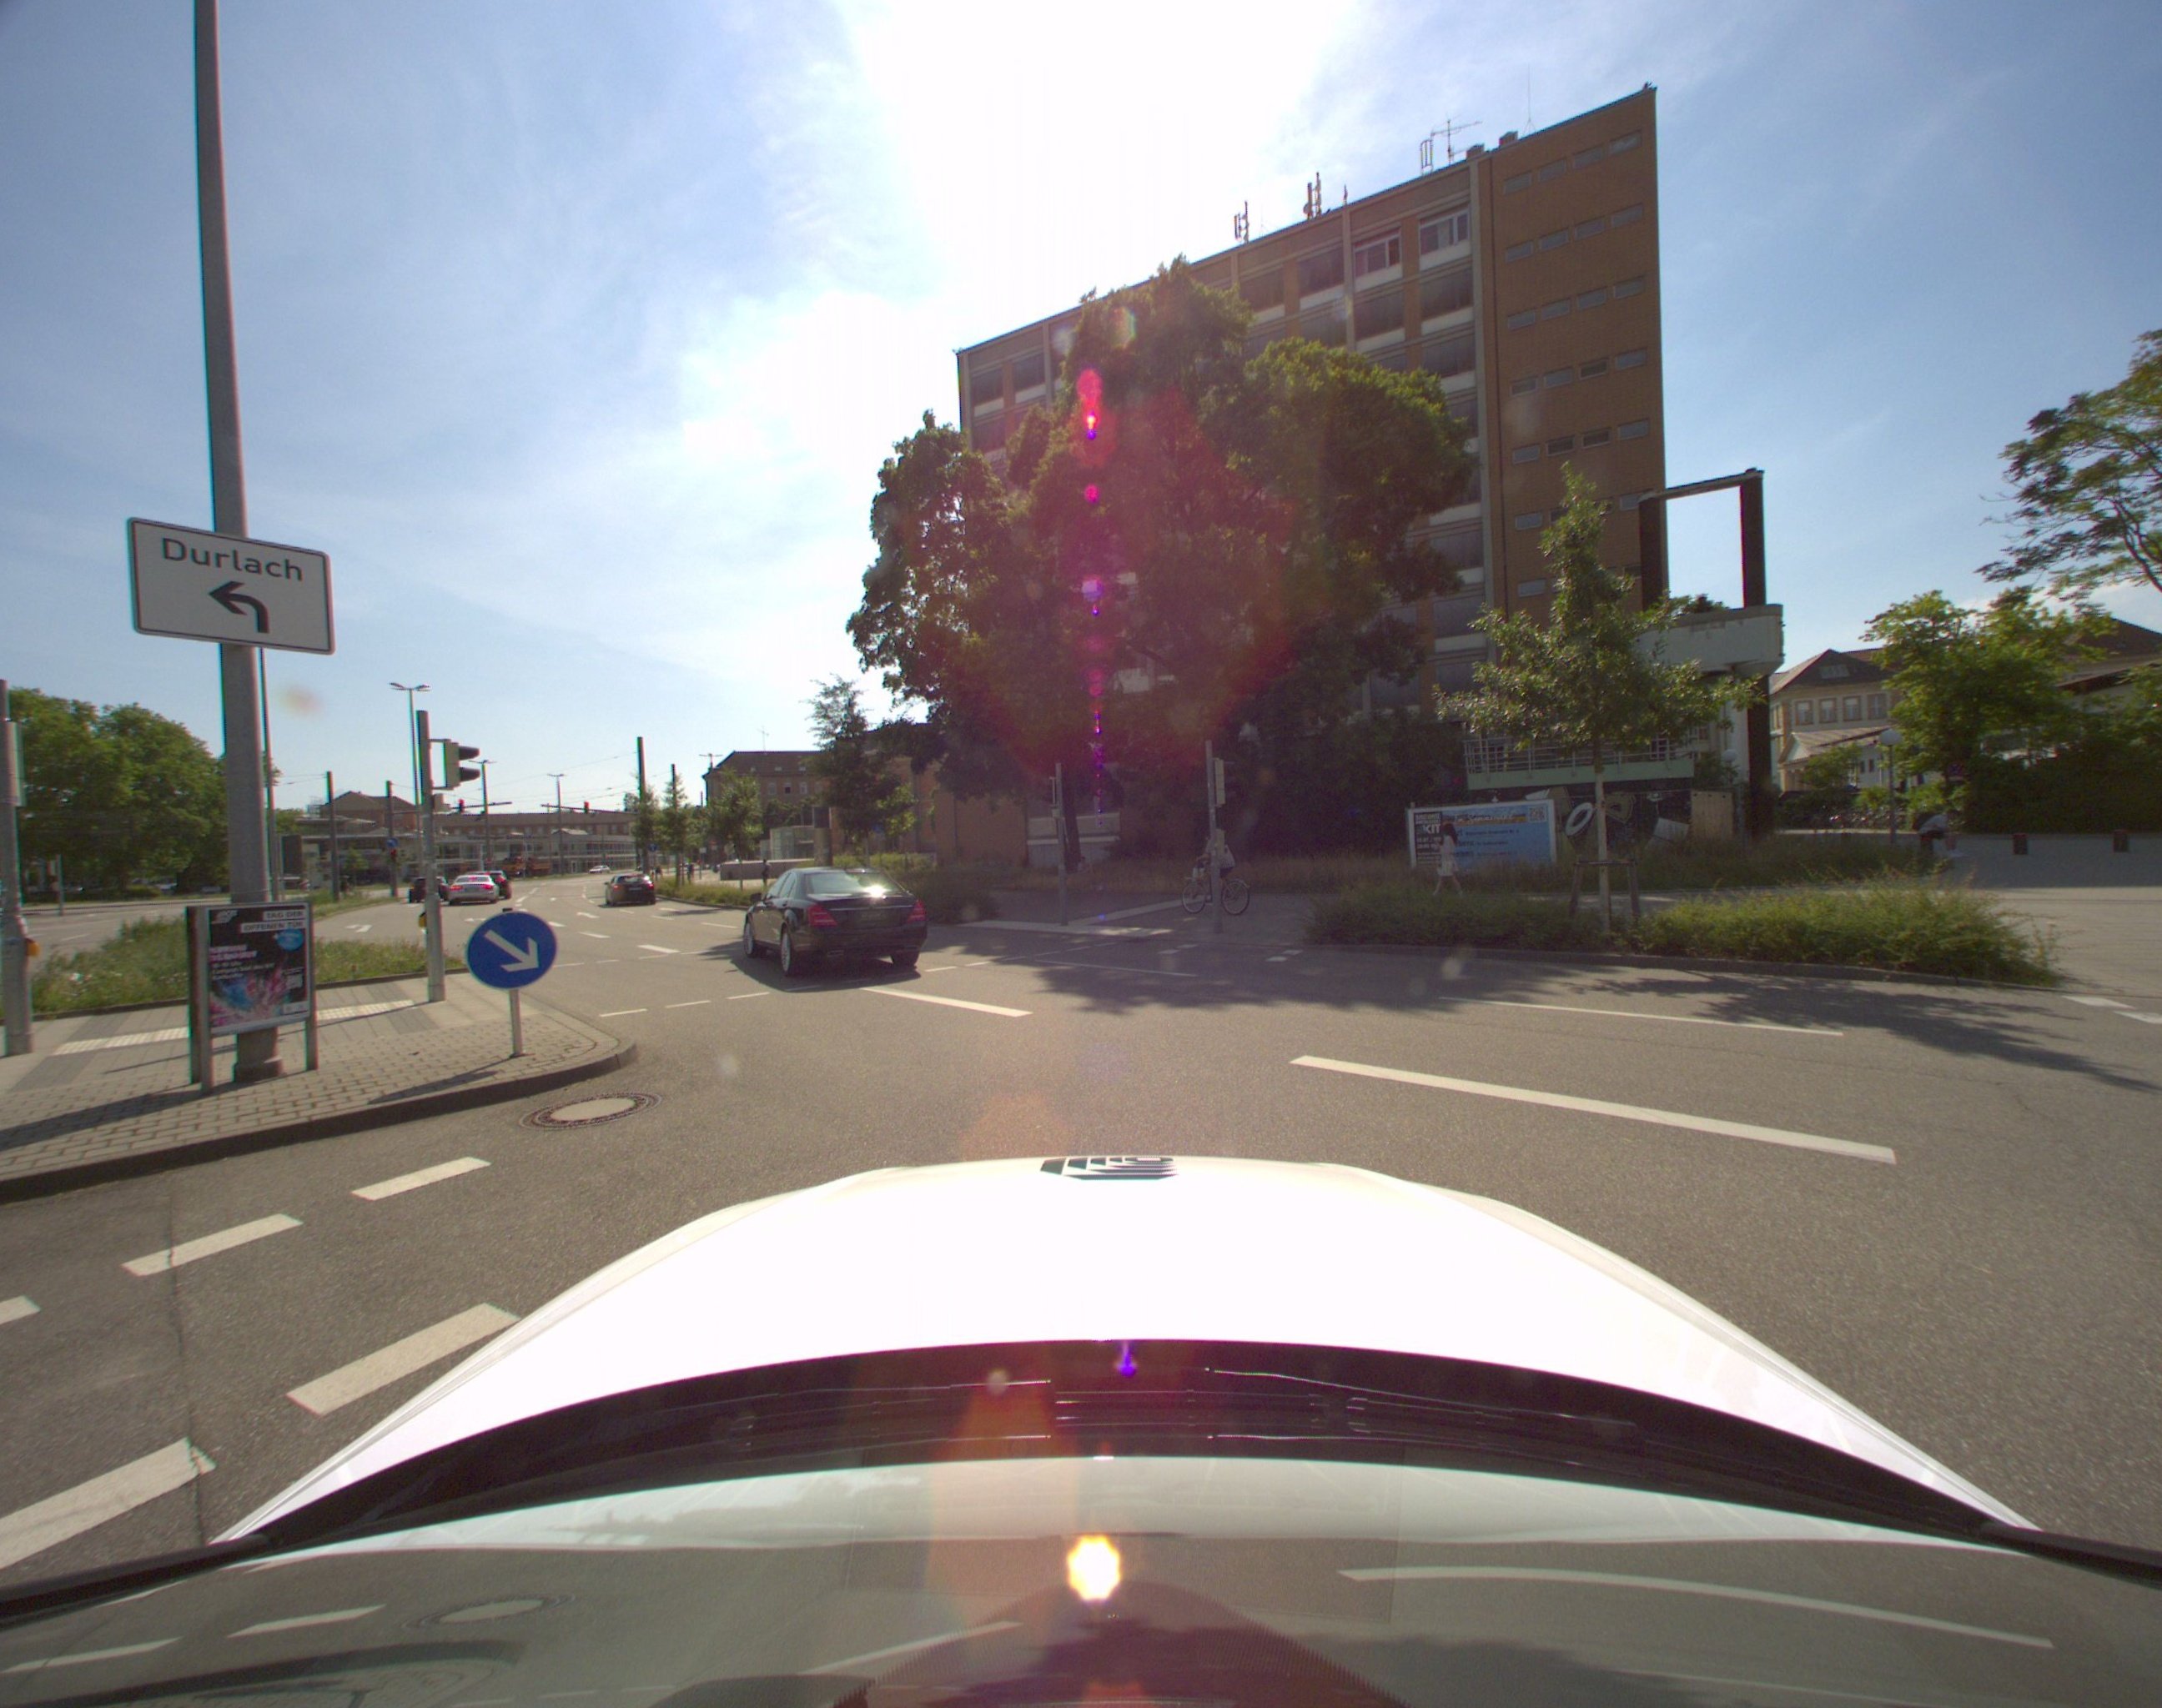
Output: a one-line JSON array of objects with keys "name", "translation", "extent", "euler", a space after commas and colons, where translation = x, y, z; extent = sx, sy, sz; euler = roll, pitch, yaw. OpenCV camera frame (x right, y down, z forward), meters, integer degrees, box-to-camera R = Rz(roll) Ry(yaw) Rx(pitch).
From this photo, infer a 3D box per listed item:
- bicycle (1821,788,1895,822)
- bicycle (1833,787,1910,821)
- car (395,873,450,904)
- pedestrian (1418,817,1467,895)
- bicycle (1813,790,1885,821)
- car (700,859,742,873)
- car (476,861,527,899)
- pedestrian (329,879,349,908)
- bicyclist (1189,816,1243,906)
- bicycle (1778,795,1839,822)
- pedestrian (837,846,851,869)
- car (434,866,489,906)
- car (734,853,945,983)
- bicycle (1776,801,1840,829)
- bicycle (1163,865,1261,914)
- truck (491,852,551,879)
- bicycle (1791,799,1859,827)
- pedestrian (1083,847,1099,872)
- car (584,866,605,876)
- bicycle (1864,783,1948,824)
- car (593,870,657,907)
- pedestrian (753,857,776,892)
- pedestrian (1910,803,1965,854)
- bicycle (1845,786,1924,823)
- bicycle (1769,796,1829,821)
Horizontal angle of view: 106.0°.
[{"name": "bicycle", "translation": [42.952, -2.720, 45.079], "extent": [2.796, 1.659, 0.847], "euler": [-3, 2, 28]}, {"name": "bicycle", "translation": [42.504, -2.671, 43.834], "extent": [2.796, 1.649, 0.847], "euler": [-3, 1, 28]}, {"name": "car", "translation": [-36.977, 1.899, 45.827], "extent": [1.806, 1.510, 3.960], "euler": [-3, 1, -31]}, {"name": "pedestrian", "translation": [7.545, 0.036, 16.996], "extent": [0.803, 1.579, 0.696], "euler": [-2, 0, 30]}, {"name": "bicycle", "translation": [43.421, -2.725, 46.071], "extent": [2.796, 1.587, 0.847], "euler": [-3, 1, 28]}, {"name": "car", "translation": [-44.412, 1.525, 100.469], "extent": [1.777, 1.510, 4.304], "euler": [-2, 1, 42]}, {"name": "car", "translation": [-33.267, 1.459, 46.859], "extent": [2.007, 2.013, 3.961], "euler": [-3, 1, -31]}, {"name": "pedestrian", "translation": [-42.952, 2.284, 47.127], "extent": [0.652, 1.661, 0.657], "euler": [-2, 0, -28]}, {"name": "bicyclist", "translation": [2.889, 0.140, 17.467], "extent": [0.848, 1.878, 0.692], "euler": [-2, 1, 37]}, {"name": "bicycle", "translation": [46.843, -2.927, 52.474], "extent": [2.796, 1.500, 0.847], "euler": [-3, 1, 28]}, {"name": "pedestrian", "translation": [-17.392, 0.257, 59.725], "extent": [0.642, 1.661, 0.654], "euler": [-2, 0, 36]}, {"name": "car", "translation": [-31.073, 1.555, 40.778], "extent": [2.010, 1.815, 3.953], "euler": [-3, 1, -39]}, {"name": "car", "translation": [-3.940, 0.874, 12.643], "extent": [1.872, 1.530, 4.665], "euler": [-3, 0, -32]}, {"name": "bicycle", "translation": [45.158, -2.387, 50.643], "extent": [2.796, 1.558, 0.847], "euler": [-3, 1, 28]}, {"name": "bicycle", "translation": [2.807, 0.771, 17.588], "extent": [1.933, 0.946, 0.699], "euler": [-3, 3, 38]}, {"name": "truck", "translation": [-82.278, 1.606, 119.783], "extent": [3.053, 3.730, 7.932], "euler": [-2, 1, 1]}, {"name": "bicycle", "translation": [44.221, -2.436, 48.452], "extent": [2.796, 1.507, 0.847], "euler": [-3, 1, 28]}, {"name": "pedestrian", "translation": [0.364, 0.206, 30.926], "extent": [0.424, 0.891, 0.396], "euler": [-2, 0, 38]}, {"name": "car", "translation": [-82.671, 2.899, 138.502], "extent": [1.795, 1.510, 3.984], "euler": [-2, 0, -12]}, {"name": "bicycle", "translation": [41.149, -2.517, 40.662], "extent": [2.796, 1.836, 0.847], "euler": [-3, 1, 28]}, {"name": "car", "translation": [-20.504, 1.514, 36.574], "extent": [1.809, 1.510, 3.953], "euler": [-1, 0, -39]}, {"name": "pedestrian", "translation": [-16.411, 1.051, 42.255], "extent": [0.878, 1.725, 0.791], "euler": [-2, 0, -39]}, {"name": "pedestrian", "translation": [21.041, -0.635, 20.029], "extent": [0.785, 1.213, 0.762], "euler": [1, 2, 35]}, {"name": "bicycle", "translation": [42.107, -2.593, 42.727], "extent": [2.796, 1.744, 0.847], "euler": [-3, 1, 28]}, {"name": "bicycle", "translation": [47.427, -3.005, 53.848], "extent": [2.796, 1.480, 0.847], "euler": [-3, 1, 28]}]
